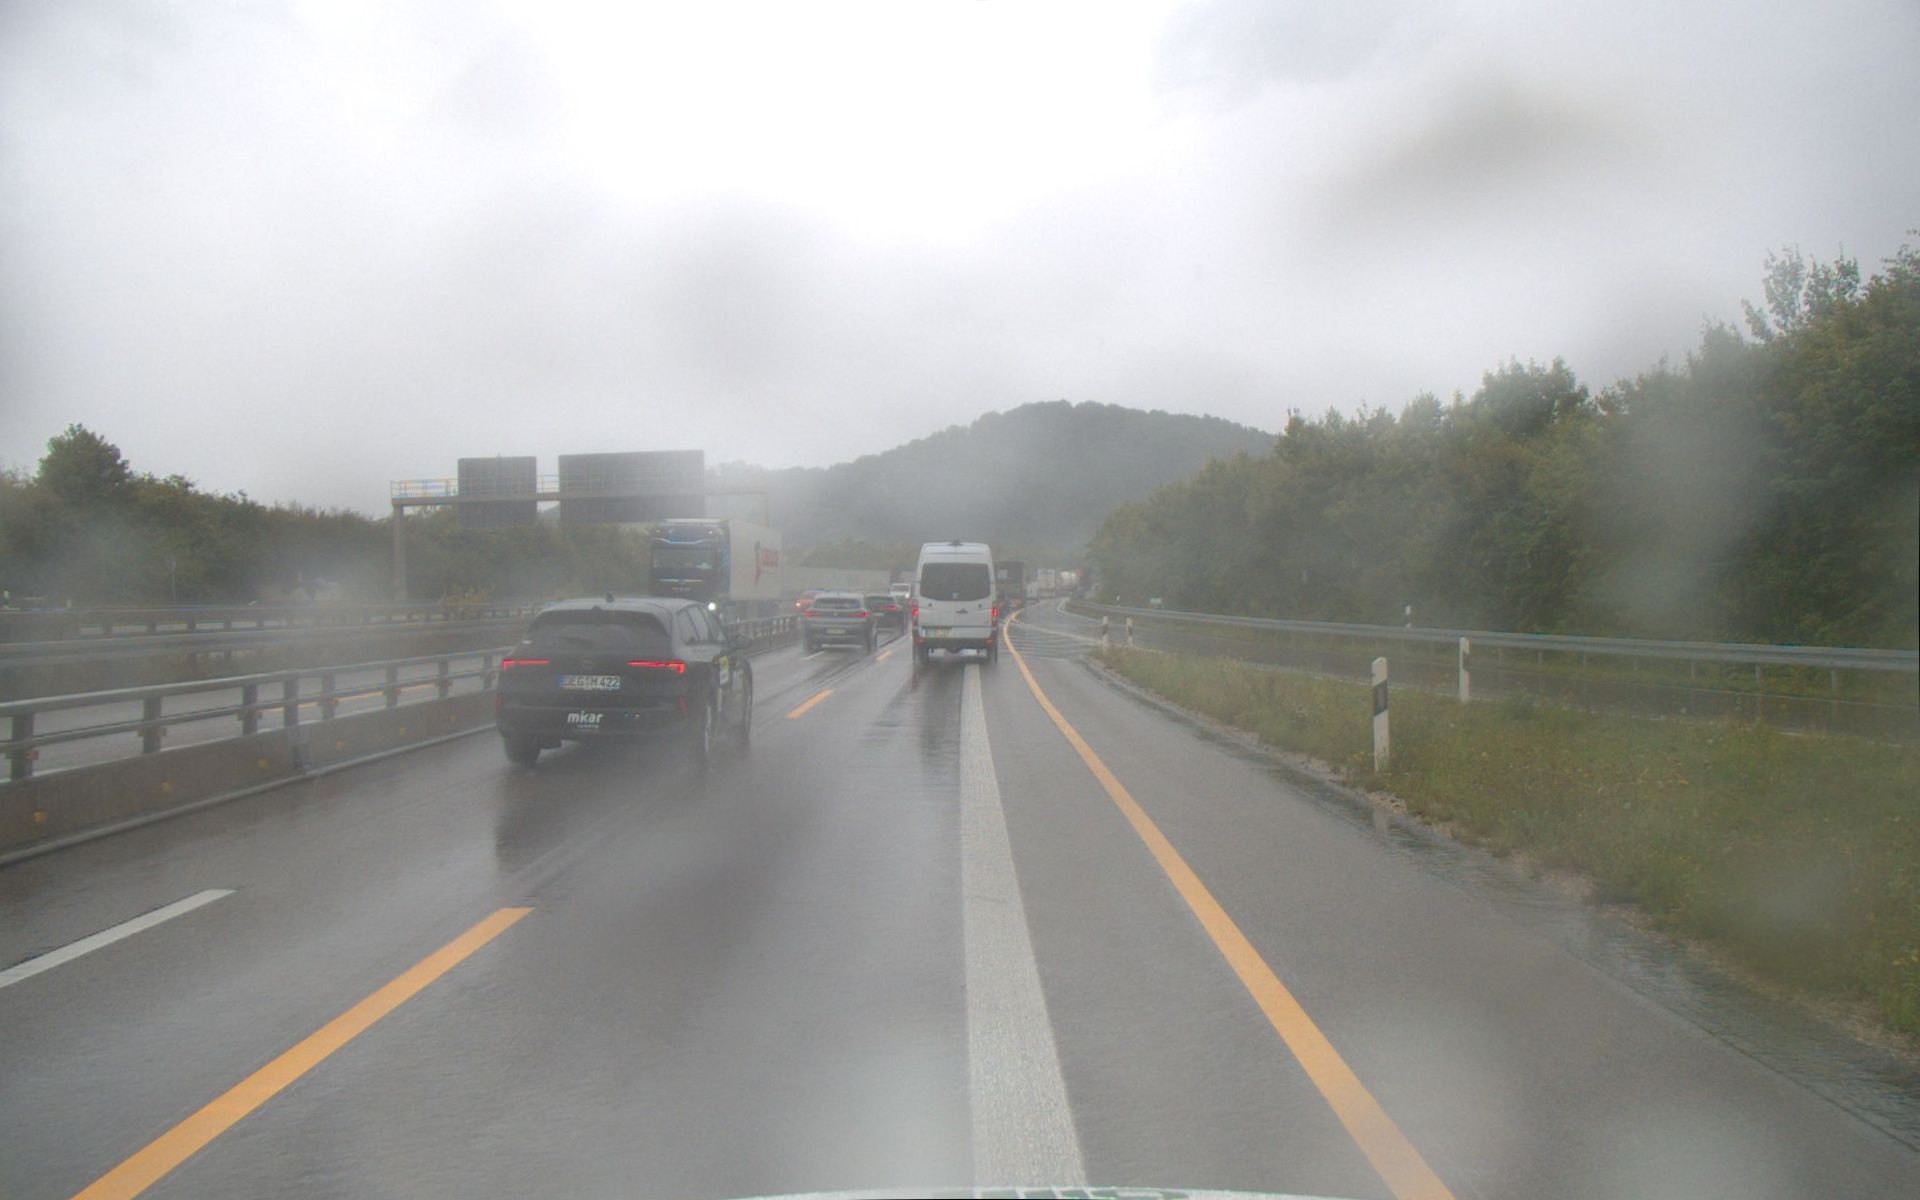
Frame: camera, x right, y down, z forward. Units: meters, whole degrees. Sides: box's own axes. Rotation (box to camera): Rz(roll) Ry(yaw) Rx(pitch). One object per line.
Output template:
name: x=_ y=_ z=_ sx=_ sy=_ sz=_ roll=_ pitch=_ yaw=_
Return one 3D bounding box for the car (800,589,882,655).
car: x=-3.149 y=0.572 z=44.490 sx=1.829 sy=1.688 sz=3.988 roll=0 pitch=0 yaw=1

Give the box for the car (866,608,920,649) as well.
car: x=-2.549 y=1.066 z=63.550 sx=1.814 sy=1.527 sz=4.000 roll=0 pitch=0 yaw=1

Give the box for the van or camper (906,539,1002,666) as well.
van or camper: x=-0.086 y=0.052 z=38.579 sx=2.095 sy=2.769 sz=4.648 roll=0 pitch=0 yaw=1

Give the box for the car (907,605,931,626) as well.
car: x=-2.162 y=0.806 z=87.041 sx=1.237 sy=1.097 sz=3.254 roll=0 pitch=0 yaw=-1

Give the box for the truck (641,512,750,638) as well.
truck: x=-9.402 y=-0.819 z=59.470 sx=2.829 sy=4.306 sz=6.326 roll=0 pitch=-1 yaw=1

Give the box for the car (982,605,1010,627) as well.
car: x=2.048 y=0.910 z=95.658 sx=1.357 sy=1.278 sz=3.120 roll=0 pitch=0 yaw=-4

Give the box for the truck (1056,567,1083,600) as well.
truck: x=17.325 y=-2.546 z=260.865 sx=3.845 sy=4.868 sz=9.912 roll=1 pitch=0 yaw=5

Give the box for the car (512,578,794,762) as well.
car: x=-2.698 y=0.570 z=15.668 sx=1.900 sy=1.452 sz=4.758 roll=1 pitch=0 yaw=-2

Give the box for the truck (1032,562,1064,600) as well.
truck: x=11.826 y=-2.496 z=222.403 sx=3.845 sy=4.868 sz=9.912 roll=1 pitch=0 yaw=5

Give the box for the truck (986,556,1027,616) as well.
truck: x=3.929 y=-1.145 z=142.381 sx=3.252 sy=4.868 sz=9.906 roll=1 pitch=0 yaw=0

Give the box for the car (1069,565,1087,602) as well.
car: x=13.863 y=-1.873 z=194.733 sx=2.015 sy=4.265 sz=6.748 roll=0 pitch=0 yaw=3

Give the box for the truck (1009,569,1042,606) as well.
truck: x=7.179 y=-1.294 z=183.083 sx=3.252 sy=3.827 sz=9.906 roll=1 pitch=0 yaw=0

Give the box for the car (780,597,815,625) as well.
car: x=-9.303 y=0.616 z=95.022 sx=1.575 sy=1.530 sz=4.216 roll=2 pitch=0 yaw=0

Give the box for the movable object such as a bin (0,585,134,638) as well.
movable object such as a bin: x=-26.546 y=0.337 z=48.986 sx=2.082 sy=1.450 sz=4.000 roll=2 pitch=0 yaw=0

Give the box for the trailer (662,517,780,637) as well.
trailer: x=-9.356 y=-0.780 z=66.359 sx=2.833 sy=4.361 sz=12.894 roll=0 pitch=-1 yaw=0
